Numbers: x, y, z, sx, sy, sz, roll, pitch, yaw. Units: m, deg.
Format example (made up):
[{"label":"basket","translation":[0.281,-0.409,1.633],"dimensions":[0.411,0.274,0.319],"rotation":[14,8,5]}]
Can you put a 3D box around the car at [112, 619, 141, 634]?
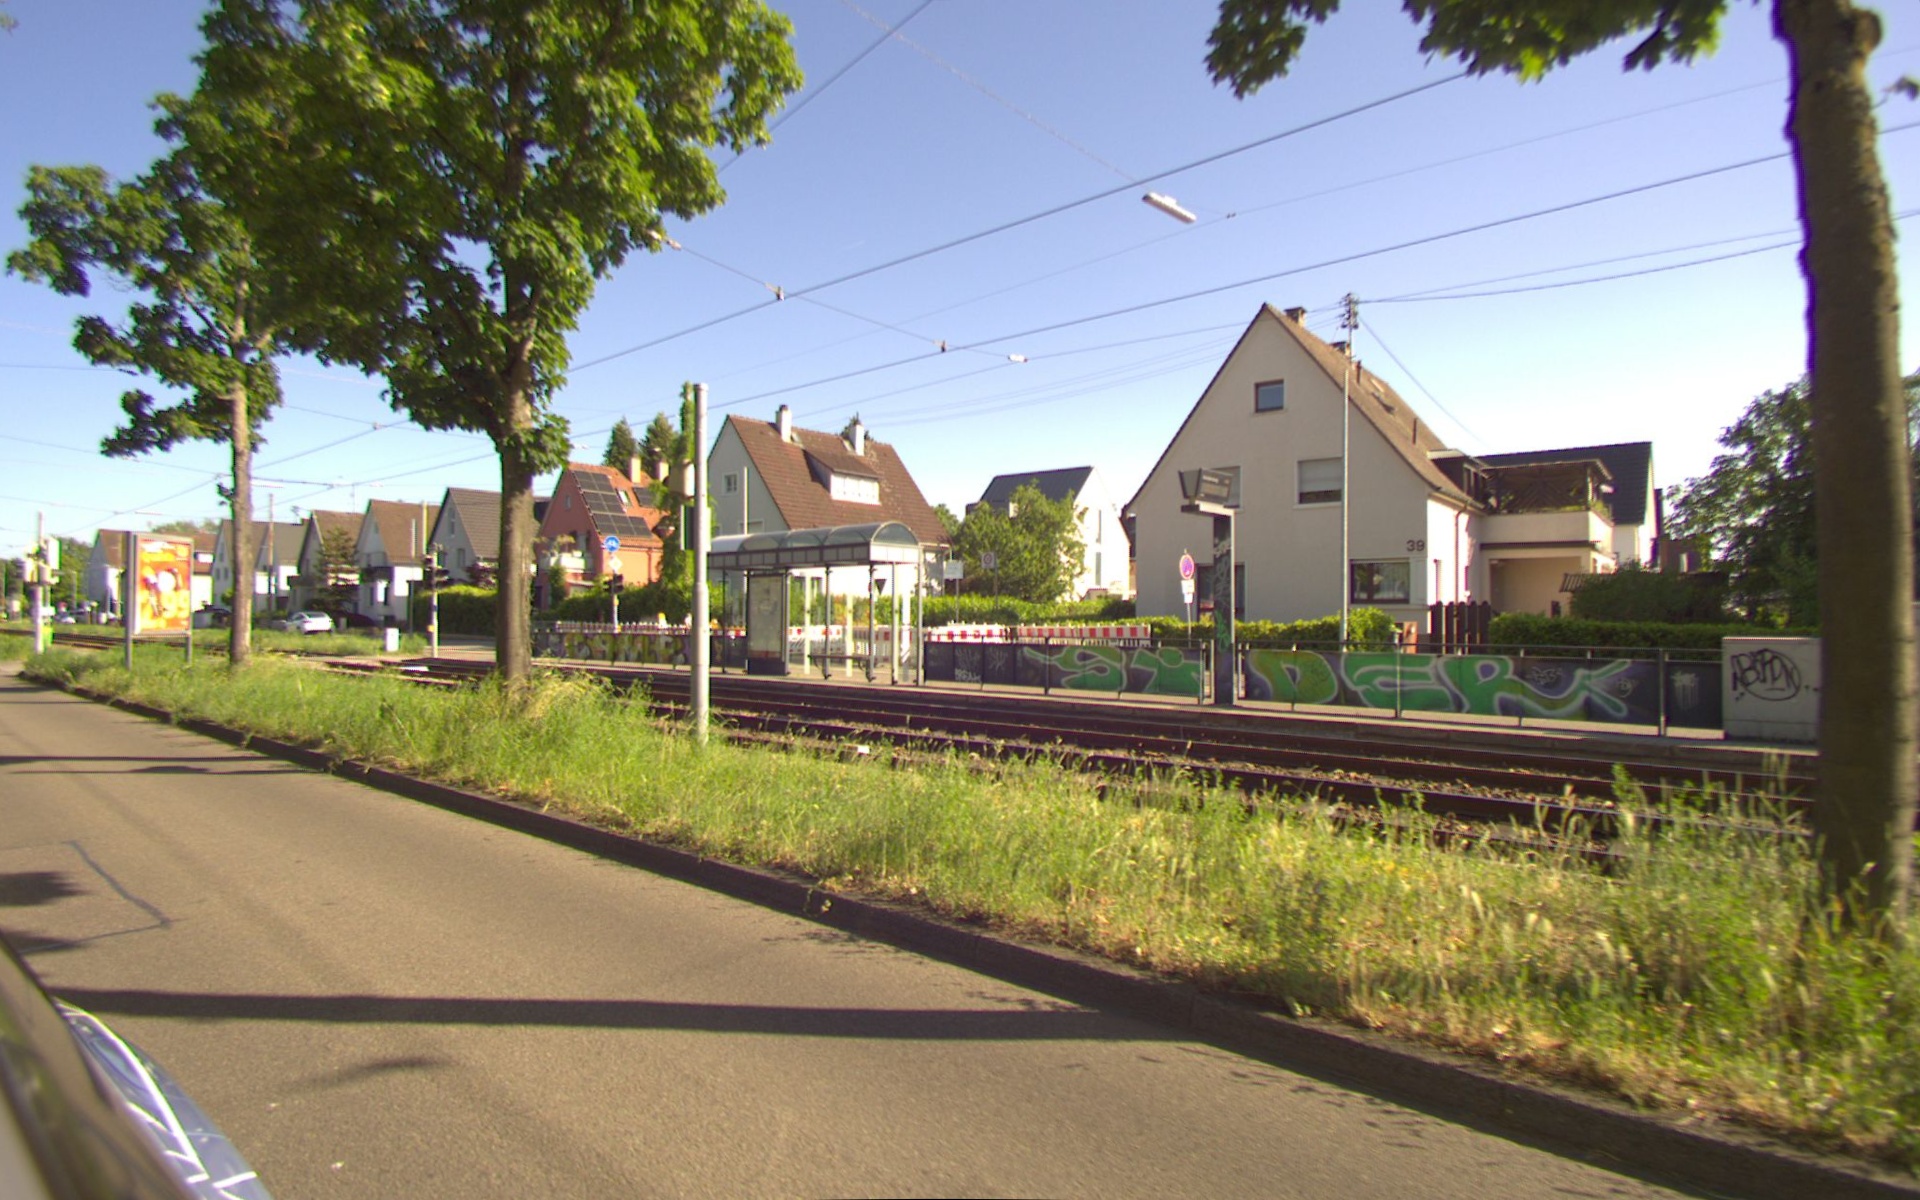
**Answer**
[{"label":"car","translation":[-83.420,2.611,101.270],"dimensions":[3.822,1.392,1.733],"rotation":[-1,0,41]}]

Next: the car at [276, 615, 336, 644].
[{"label":"car","translation":[-41.608,1.834,64.351],"dimensions":[4.837,1.691,1.973],"rotation":[-1,0,41]}]

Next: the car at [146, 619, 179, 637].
[{"label":"car","translation":[-71.105,2.505,90.203],"dimensions":[3.754,1.501,1.716],"rotation":[-1,0,41]}]

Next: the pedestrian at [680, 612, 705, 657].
[{"label":"pedestrian","translation":[-9.361,1.200,35.453],"dimensions":[0.781,1.546,0.815],"rotation":[-1,-2,-11]}]

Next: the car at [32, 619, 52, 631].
[{"label":"car","translation":[-122.561,3.385,135.081],"dimensions":[4.001,1.517,1.767],"rotation":[-1,0,44]}]

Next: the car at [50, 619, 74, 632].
[{"label":"car","translation":[-111.870,3.163,126.048],"dimensions":[3.999,1.517,1.768],"rotation":[-1,0,42]}]

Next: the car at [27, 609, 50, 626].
[{"label":"car","translation":[-125.964,2.426,138.342],"dimensions":[4.001,2.239,2.104],"rotation":[-1,0,44]}]

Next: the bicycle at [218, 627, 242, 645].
[{"label":"bicycle","translation":[-49.181,2.394,68.165],"dimensions":[2.308,1.143,0.843],"rotation":[-1,0,42]}]

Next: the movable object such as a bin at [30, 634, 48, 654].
[{"label":"movable object such as a bin","translation":[-28.455,1.365,31.268],"dimensions":[0.381,0.587,0.380],"rotation":[0,0,-40]}]

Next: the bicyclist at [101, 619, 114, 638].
[{"label":"bicyclist","translation":[-78.645,2.639,93.385],"dimensions":[0.837,1.687,0.842],"rotation":[-1,0,42]}]

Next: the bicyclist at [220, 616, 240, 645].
[{"label":"bicyclist","translation":[-49.139,2.028,68.128],"dimensions":[1.071,1.901,0.843],"rotation":[-1,0,41]}]

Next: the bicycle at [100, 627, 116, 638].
[{"label":"bicycle","translation":[-78.675,2.979,93.424],"dimensions":[2.308,0.958,0.843],"rotation":[-1,0,42]}]
